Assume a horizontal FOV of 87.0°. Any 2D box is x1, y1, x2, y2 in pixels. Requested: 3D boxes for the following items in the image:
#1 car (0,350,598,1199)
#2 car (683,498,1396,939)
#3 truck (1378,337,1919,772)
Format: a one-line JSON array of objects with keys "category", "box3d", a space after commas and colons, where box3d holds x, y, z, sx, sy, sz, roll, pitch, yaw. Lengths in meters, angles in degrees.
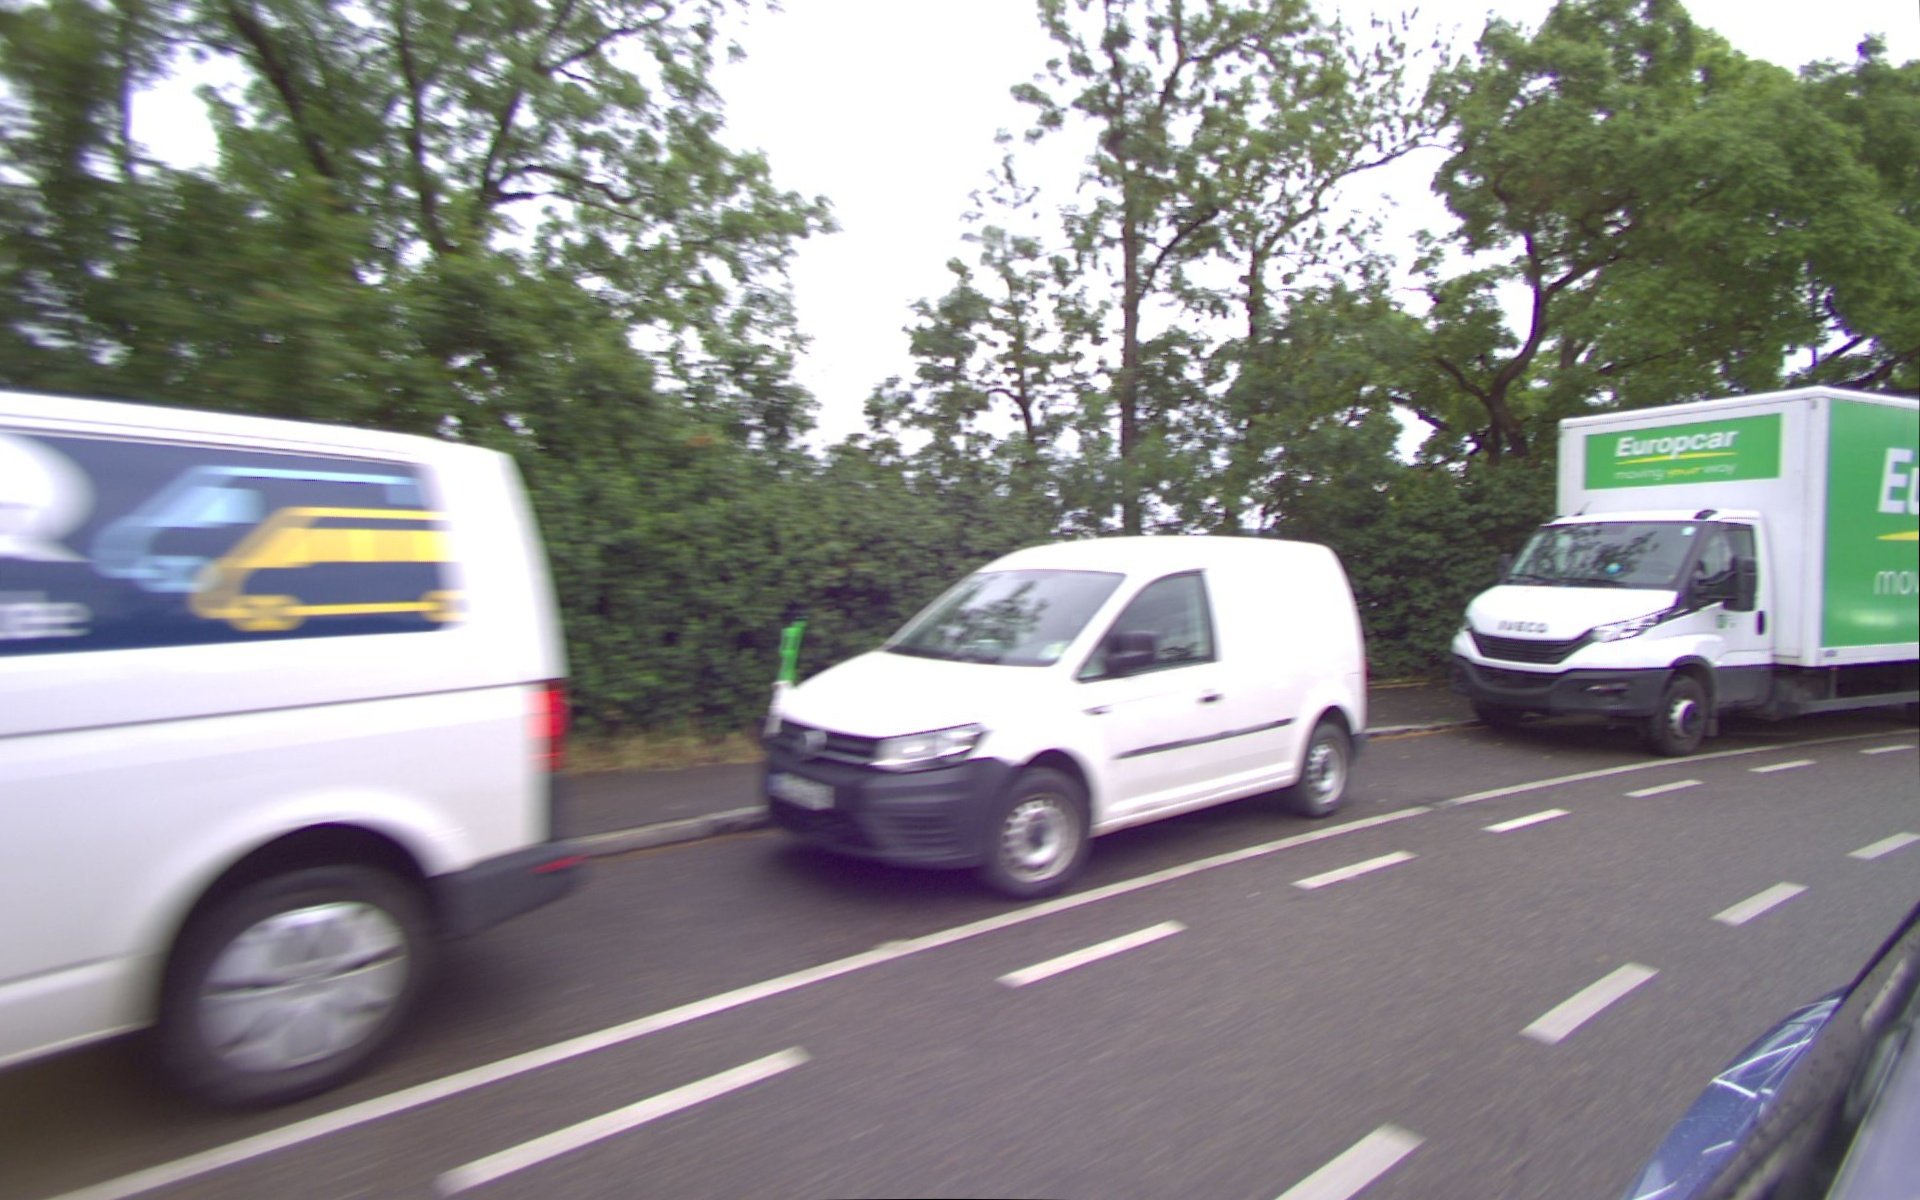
[{"category": "car", "box3d": [-3.488, 0.381, 2.284, 1.858, 1.972, 4.737, 2, 2, 40]}, {"category": "car", "box3d": [0.724, 0.443, 6.223, 4.301, 1.792, 1.864, 0, 2, -40]}, {"category": "truck", "box3d": [9.077, -0.376, 11.195, 8.746, 3.512, 2.789, 1, 3, -23]}]
